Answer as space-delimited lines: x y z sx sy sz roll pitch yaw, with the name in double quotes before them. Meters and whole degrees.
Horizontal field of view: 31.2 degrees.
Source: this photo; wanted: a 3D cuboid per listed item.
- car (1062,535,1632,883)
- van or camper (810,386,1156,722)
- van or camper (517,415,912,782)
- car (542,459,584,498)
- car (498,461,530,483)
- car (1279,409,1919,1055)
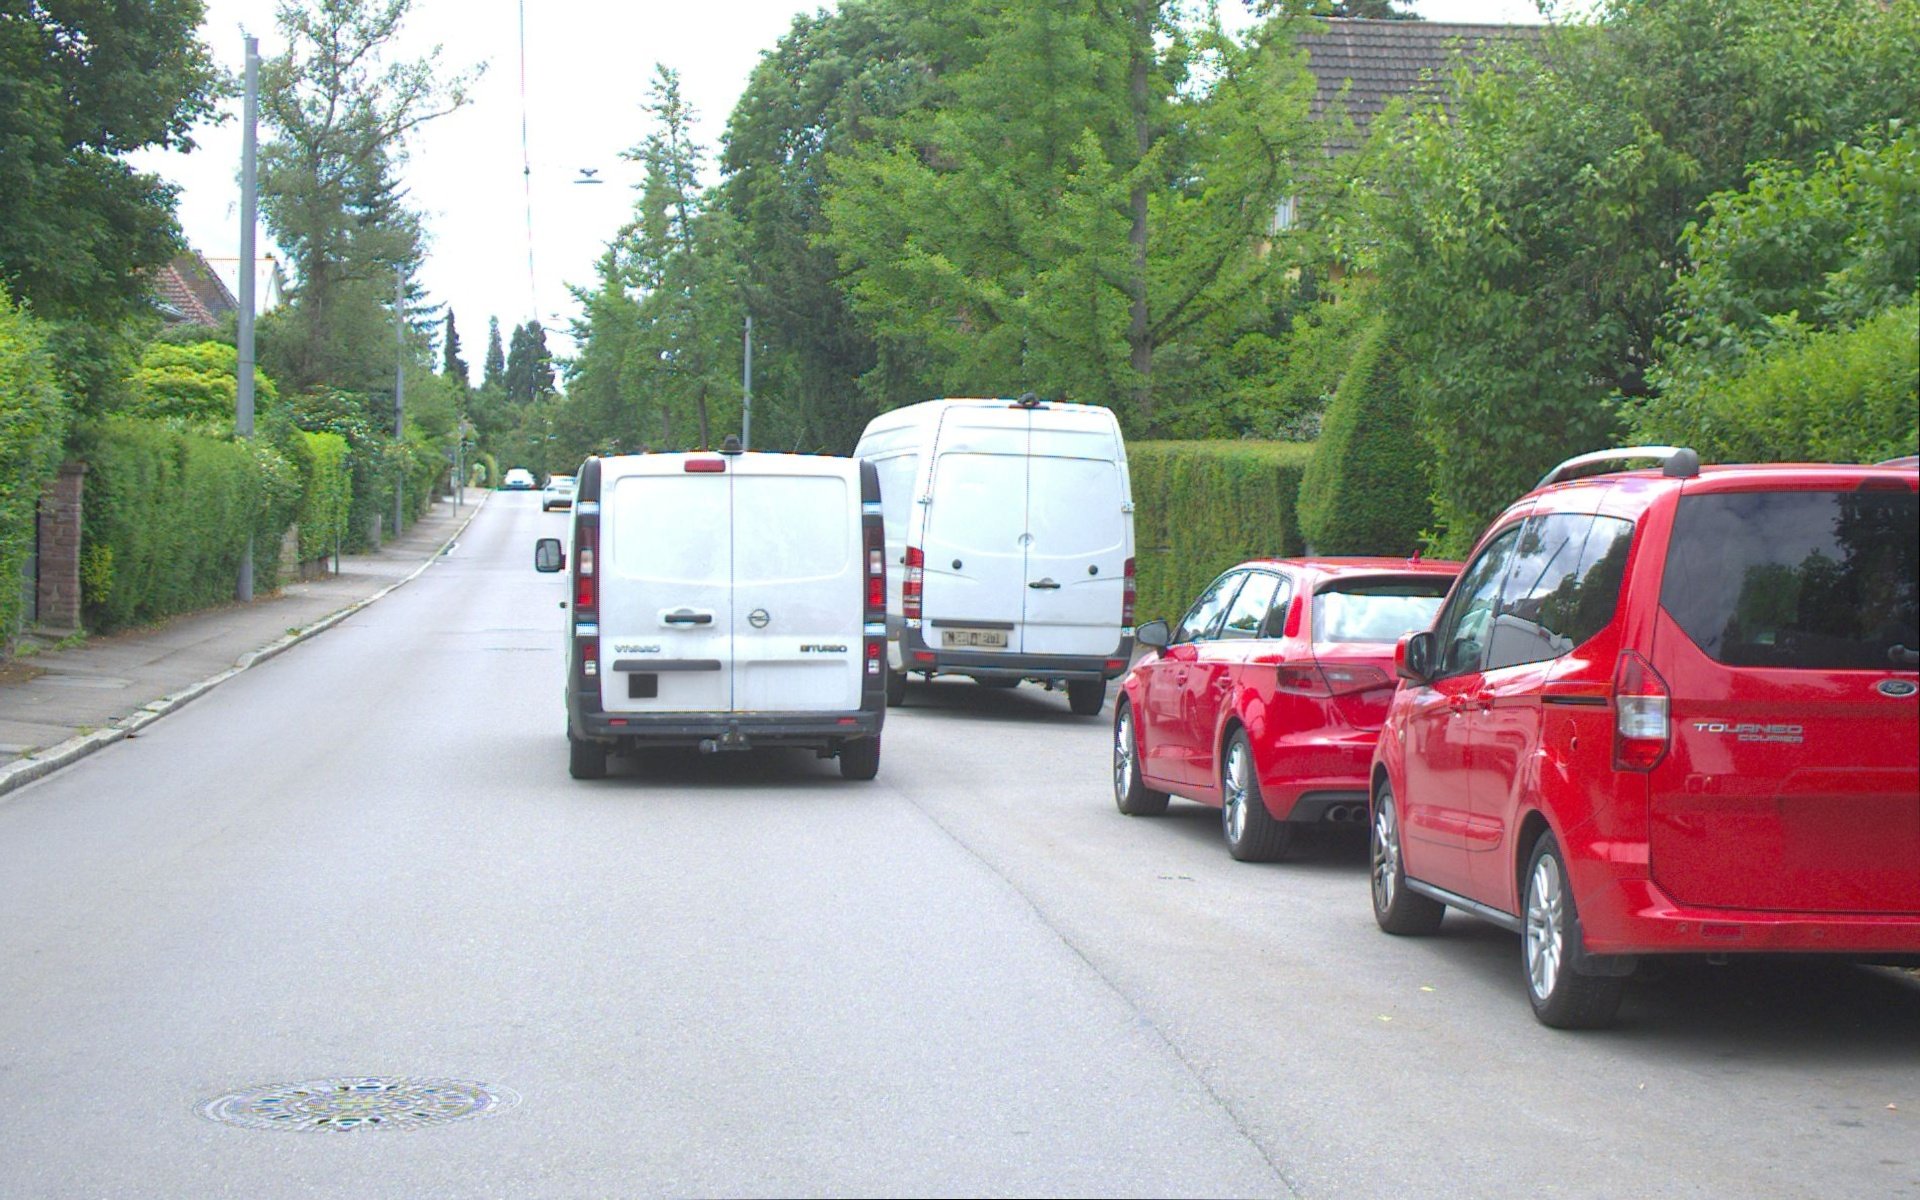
"car" 1.778 0.448 17.242 1.712 1.462 4.269 1 2 -9
"van or camper" 0.059 -0.444 31.019 2.066 2.665 6.330 2 1 -9
"van or camper" -1.691 -0.123 21.870 1.923 2.006 4.831 1 3 -11
"car" -18.261 -5.587 157.954 1.775 1.645 3.646 0 3 -8
"car" -29.845 -8.574 230.126 1.689 1.470 3.582 0 2 1
"car" 2.474 0.306 12.089 1.760 1.791 4.950 1 2 -5
